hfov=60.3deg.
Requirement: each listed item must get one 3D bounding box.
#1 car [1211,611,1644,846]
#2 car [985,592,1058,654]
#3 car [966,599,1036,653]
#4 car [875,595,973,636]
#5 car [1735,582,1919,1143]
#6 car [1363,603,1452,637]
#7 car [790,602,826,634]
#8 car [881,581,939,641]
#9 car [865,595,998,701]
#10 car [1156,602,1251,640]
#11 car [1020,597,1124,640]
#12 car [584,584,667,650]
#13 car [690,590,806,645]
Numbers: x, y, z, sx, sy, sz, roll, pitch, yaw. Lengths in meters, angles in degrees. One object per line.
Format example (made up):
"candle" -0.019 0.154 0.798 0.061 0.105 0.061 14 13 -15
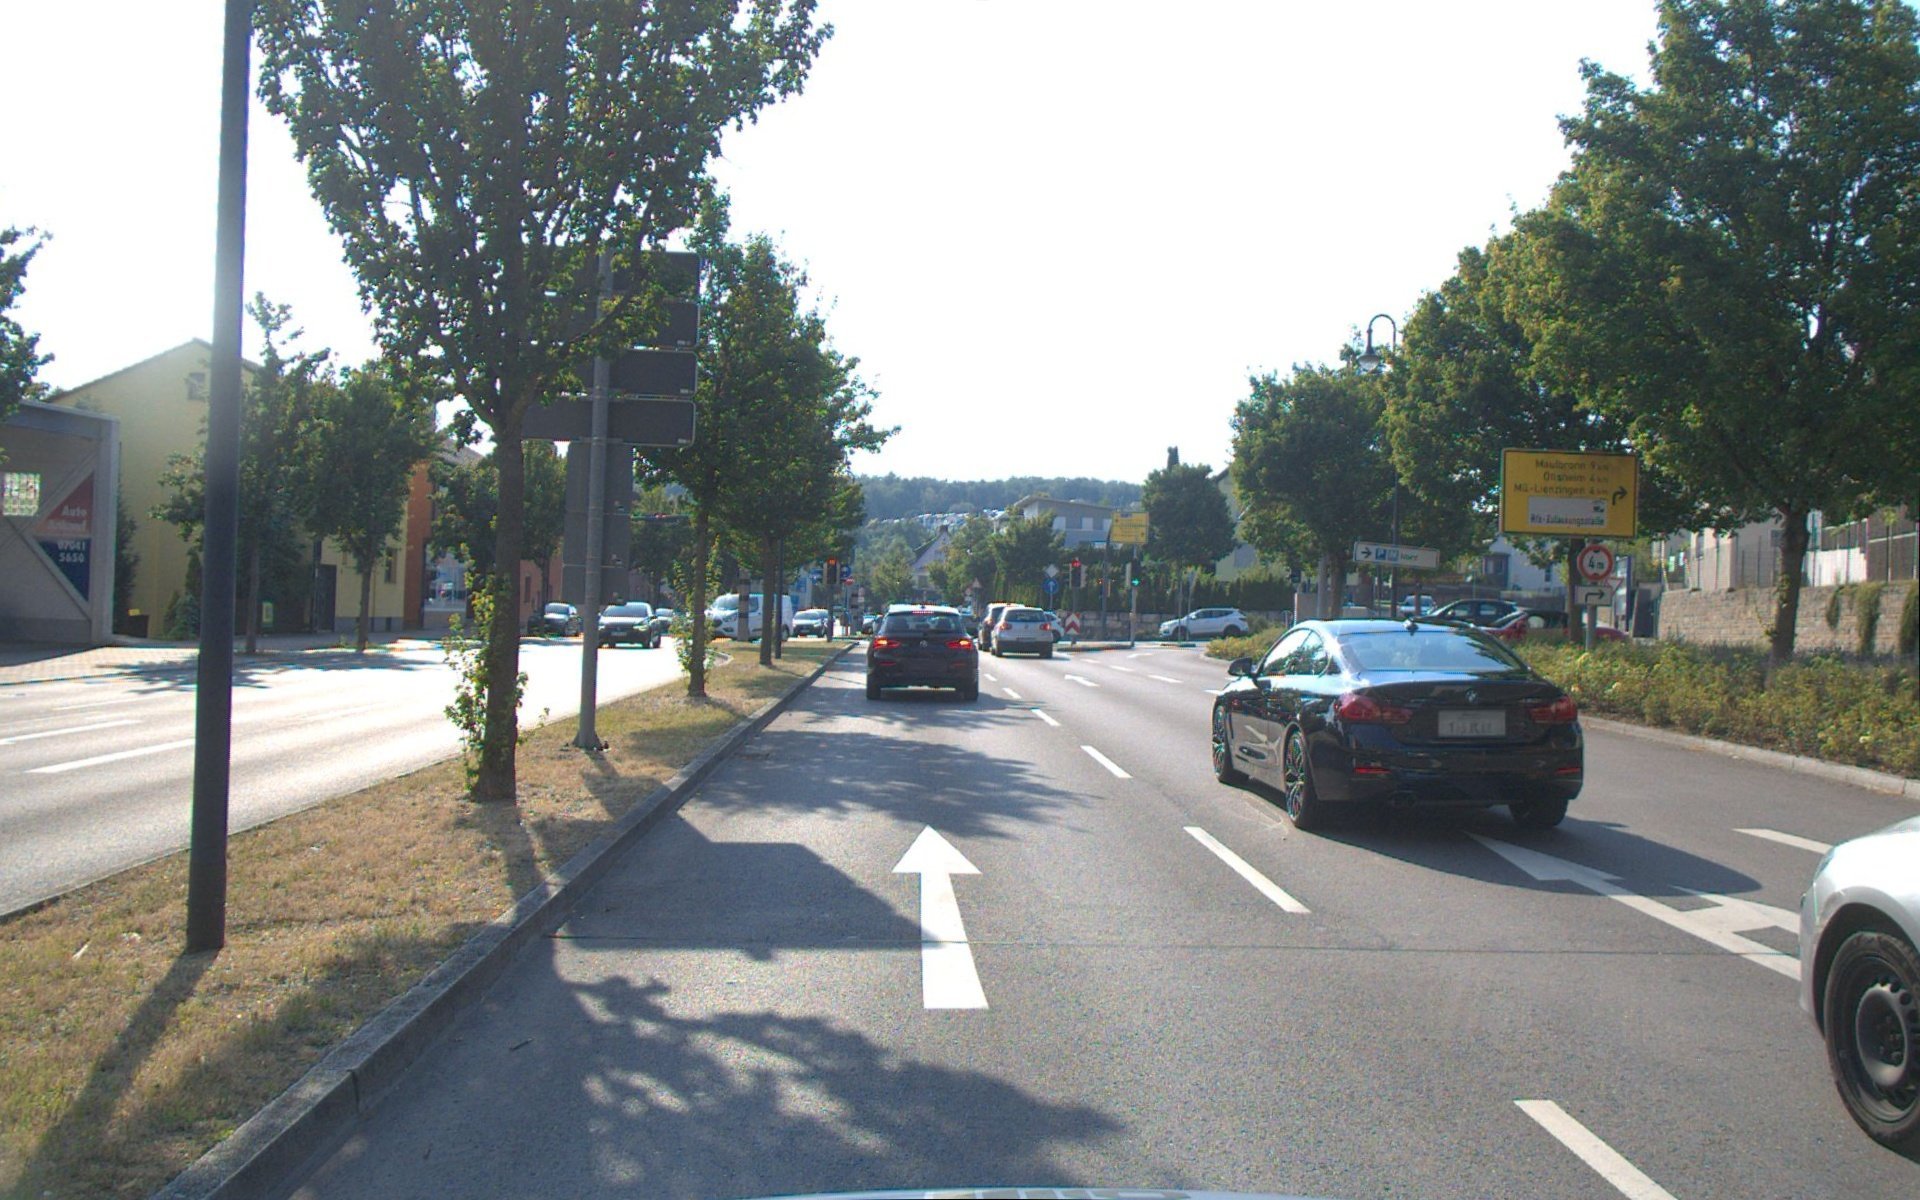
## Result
"car" 3.157 0.792 12.161 1.881 1.388 4.352 0 0 -1
"car" 1.836 0.662 50.611 1.886 1.800 4.452 0 0 -3
"car" 1.406 0.873 58.323 2.172 1.800 4.452 0 0 -3
"car" -1.790 0.771 83.231 4.846 1.963 2.146 1 0 -1
"car" 3.456 0.733 3.390 1.686 1.516 4.306 0 1 -1
"car" 25.568 1.135 94.623 4.540 1.861 1.998 0 0 -5
"car" -8.454 1.008 92.412 1.695 1.708 3.999 0 0 -1
"car" -1.590 0.324 51.738 1.721 1.800 3.969 0 0 -3
"car" -0.376 0.702 26.667 1.685 1.516 4.355 1 0 5
"car" 12.613 1.084 85.794 4.540 1.861 1.998 0 0 -5
"car" 5.270 0.863 77.864 4.457 1.963 2.139 1 0 -14
"car" -10.973 0.520 54.613 2.097 2.044 5.120 1 0 -5
"car" -8.741 0.694 68.556 2.100 2.167 5.114 1 0 30
